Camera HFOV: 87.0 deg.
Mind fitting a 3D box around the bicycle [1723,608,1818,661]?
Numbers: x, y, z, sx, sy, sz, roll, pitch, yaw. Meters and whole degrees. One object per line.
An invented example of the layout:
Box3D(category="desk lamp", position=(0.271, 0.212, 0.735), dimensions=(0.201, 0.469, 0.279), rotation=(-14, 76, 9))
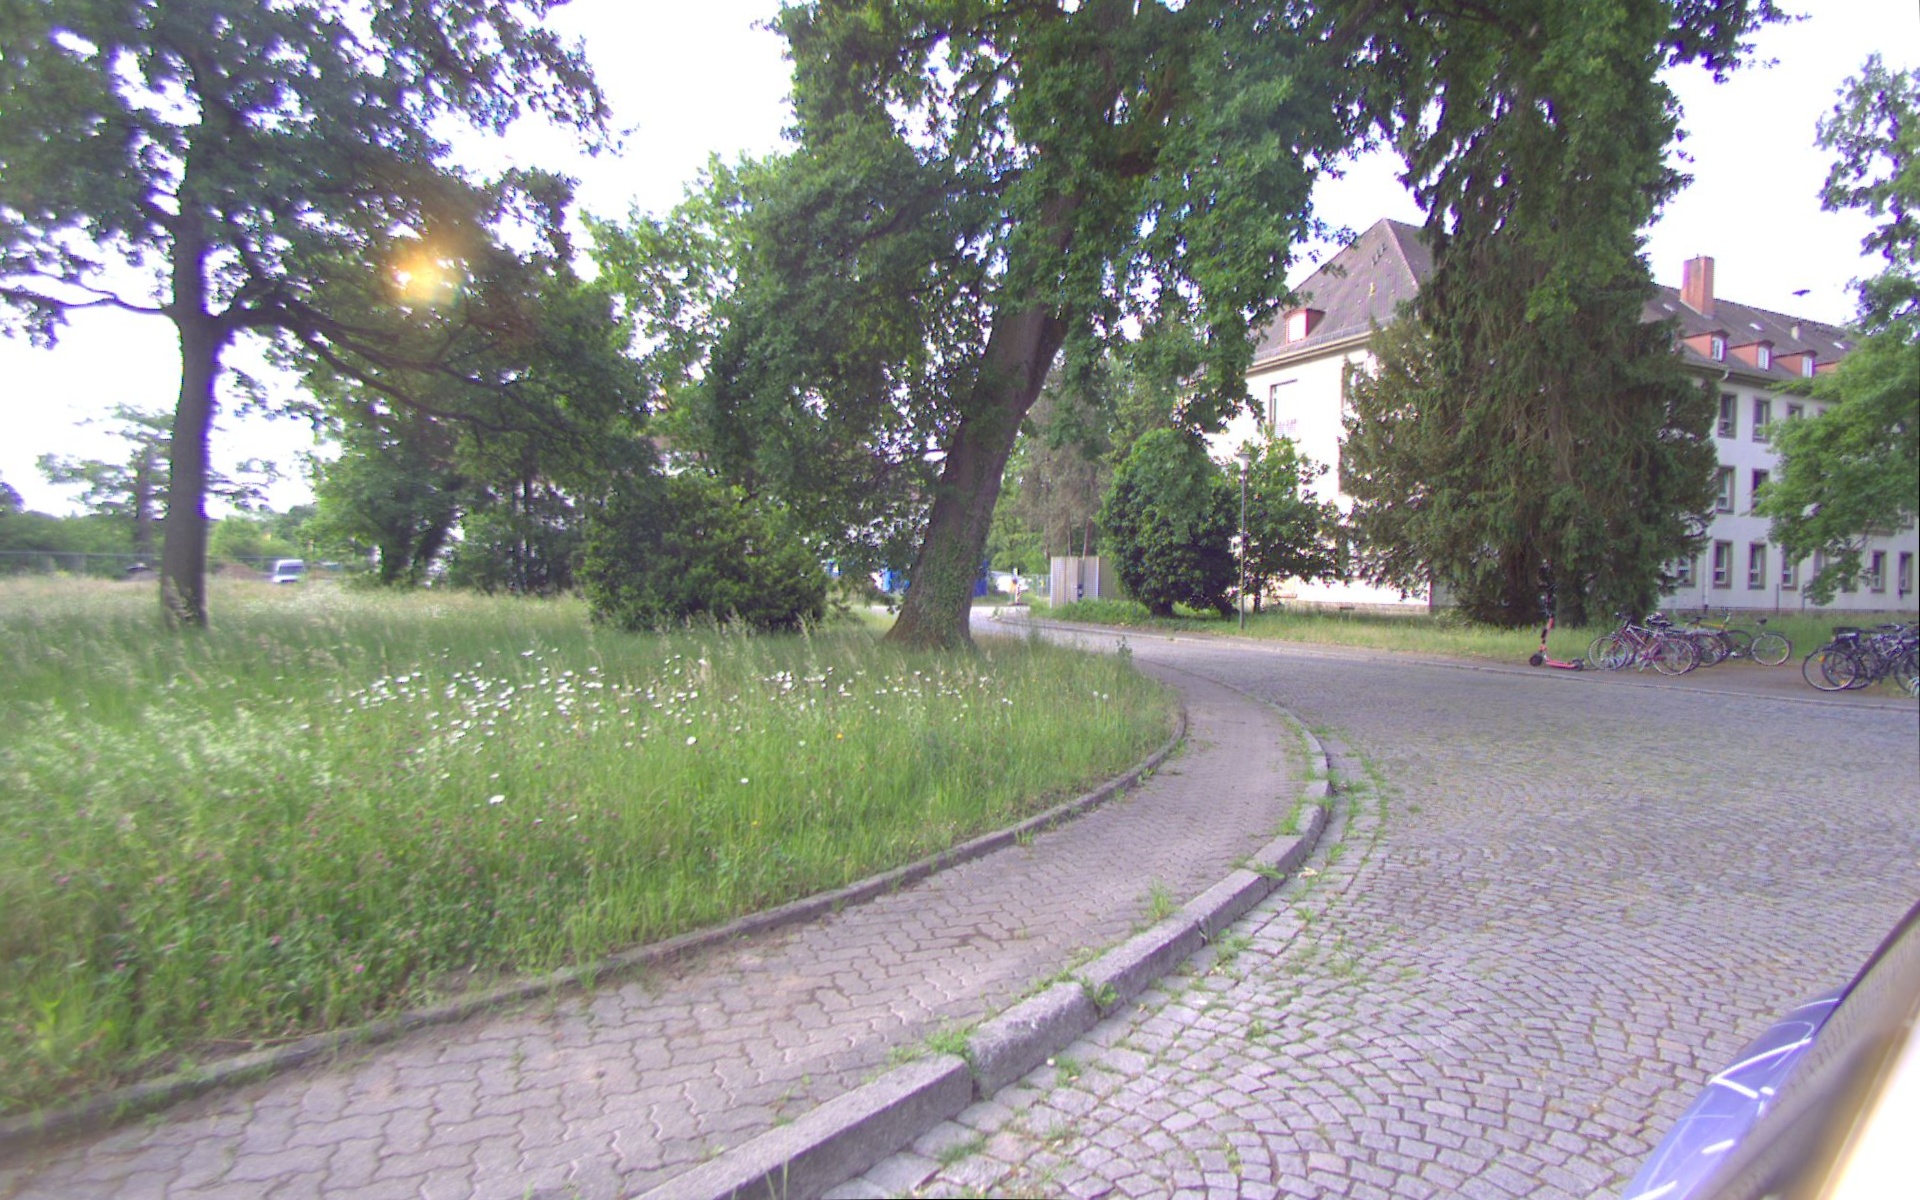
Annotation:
Box3D(category="bicycle", position=(17.543, 0.731, 21.921), dimensions=(1.560, 1.047, 0.469), rotation=(2, 2, 42))

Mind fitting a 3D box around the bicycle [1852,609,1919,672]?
Box3D(category="bicycle", position=(17.722, 0.759, 18.665), dimensions=(1.860, 1.101, 0.512), rotation=(2, 4, 44))

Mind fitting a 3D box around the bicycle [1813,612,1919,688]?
Box3D(category="bicycle", position=(14.913, 0.794, 16.109), dimensions=(2.011, 1.101, 0.471), rotation=(2, 4, 44))

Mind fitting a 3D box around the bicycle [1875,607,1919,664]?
Box3D(category="bicycle", position=(19.673, 0.738, 20.442), dimensions=(1.746, 1.101, 0.545), rotation=(2, 4, 44))

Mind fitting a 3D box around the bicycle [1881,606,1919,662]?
Box3D(category="bicycle", position=(20.292, 0.730, 20.918), dimensions=(1.820, 1.101, 0.545), rotation=(2, 4, 44))

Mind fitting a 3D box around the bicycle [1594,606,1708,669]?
Box3D(category="bicycle", position=(13.511, 0.713, 19.809), dimensions=(1.804, 1.101, 0.472), rotation=(2, 3, 39))

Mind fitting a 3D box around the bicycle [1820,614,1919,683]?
Box3D(category="bicycle", position=(15.292, 0.797, 16.409), dimensions=(2.011, 1.022, 0.471), rotation=(2, 4, 44))

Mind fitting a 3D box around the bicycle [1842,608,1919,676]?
Box3D(category="bicycle", position=(16.622, 0.736, 17.521), dimensions=(2.011, 1.101, 0.471), rotation=(2, 4, 44))

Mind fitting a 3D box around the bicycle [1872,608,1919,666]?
Box3D(category="bicycle", position=(19.149, 0.745, 19.878), dimensions=(1.802, 1.101, 0.545), rotation=(2, 4, 44))

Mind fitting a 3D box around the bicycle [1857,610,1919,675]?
Box3D(category="bicycle", position=(17.226, 0.770, 18.055), dimensions=(1.783, 1.101, 0.471), rotation=(2, 4, 44))

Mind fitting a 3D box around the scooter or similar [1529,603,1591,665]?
Box3D(category="scooter or similar", position=(12.261, 0.676, 20.696), dimensions=(0.377, 1.209, 1.066), rotation=(1, 1, -22))

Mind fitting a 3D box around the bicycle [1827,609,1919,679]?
Box3D(category="bicycle", position=(16.085, 0.752, 17.195), dimensions=(2.011, 1.101, 0.471), rotation=(2, 4, 44))

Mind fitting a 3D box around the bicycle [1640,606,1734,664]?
Box3D(category="bicycle", position=(15.149, 0.718, 21.126), dimensions=(1.556, 1.101, 0.555), rotation=(2, 2, 35))

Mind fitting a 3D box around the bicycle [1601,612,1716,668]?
Box3D(category="bicycle", position=(13.910, 0.776, 20.195), dimensions=(1.847, 1.002, 0.450), rotation=(2, 2, 39))
